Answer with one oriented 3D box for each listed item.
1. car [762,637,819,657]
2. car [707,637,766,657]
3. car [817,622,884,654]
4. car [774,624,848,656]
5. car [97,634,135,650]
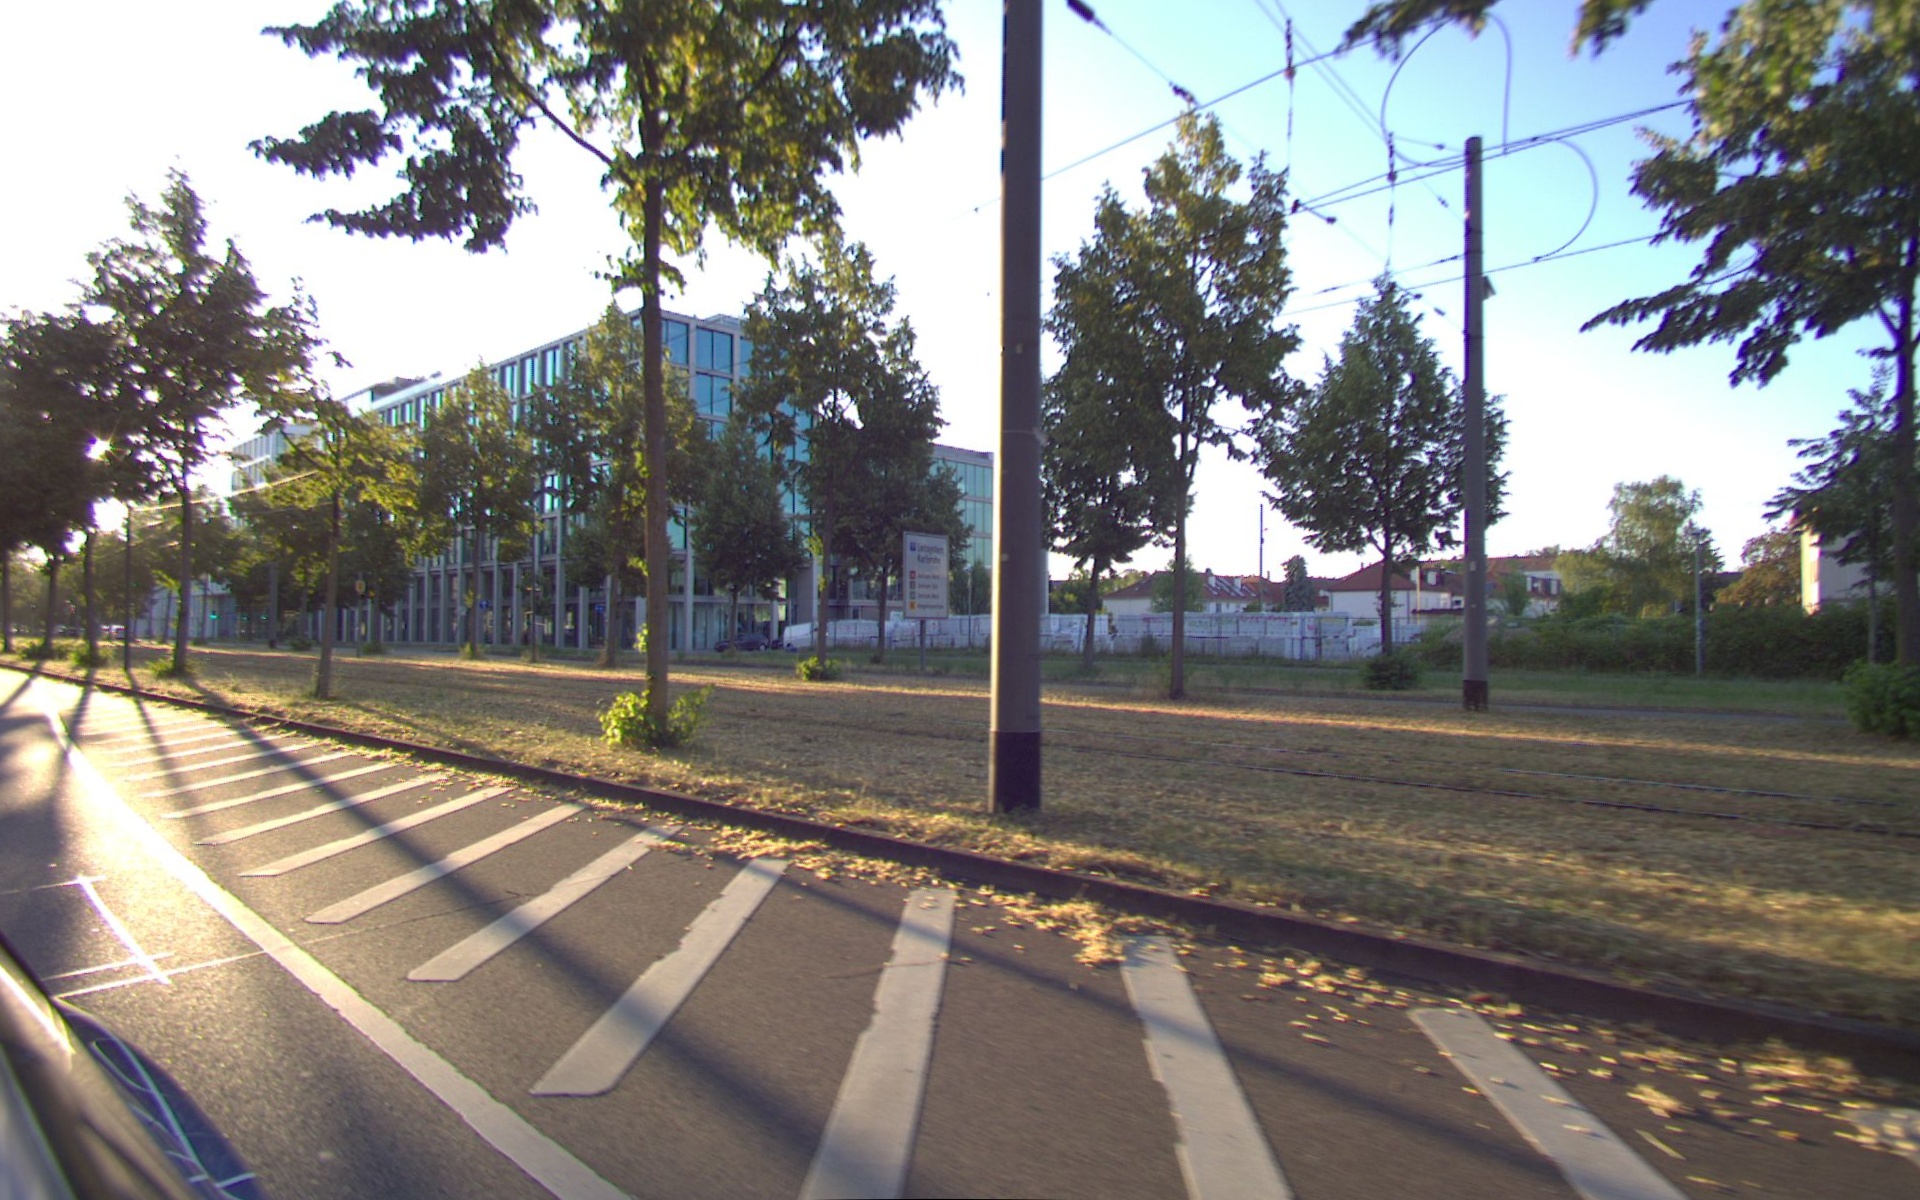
[{"bbox_3d":[-13.032,3.608,77.998,1.895,1.457,3.941,-2,-3,44],"label":"car"},{"bbox_3d":[-16.451,3.454,74.597,1.894,1.457,3.942,-2,-3,44],"label":"car"},{"bbox_3d":[-8.826,3.079,82.166,1.974,2.486,5.419,-2,-3,45],"label":"car"},{"bbox_3d":[-9.994,2.682,67.776,5.081,2.029,2.183,-2,-3,41],"label":"car"},{"bbox_3d":[-78.849,3.890,94.495,4.626,1.497,1.883,-2,-3,39],"label":"car"}]
